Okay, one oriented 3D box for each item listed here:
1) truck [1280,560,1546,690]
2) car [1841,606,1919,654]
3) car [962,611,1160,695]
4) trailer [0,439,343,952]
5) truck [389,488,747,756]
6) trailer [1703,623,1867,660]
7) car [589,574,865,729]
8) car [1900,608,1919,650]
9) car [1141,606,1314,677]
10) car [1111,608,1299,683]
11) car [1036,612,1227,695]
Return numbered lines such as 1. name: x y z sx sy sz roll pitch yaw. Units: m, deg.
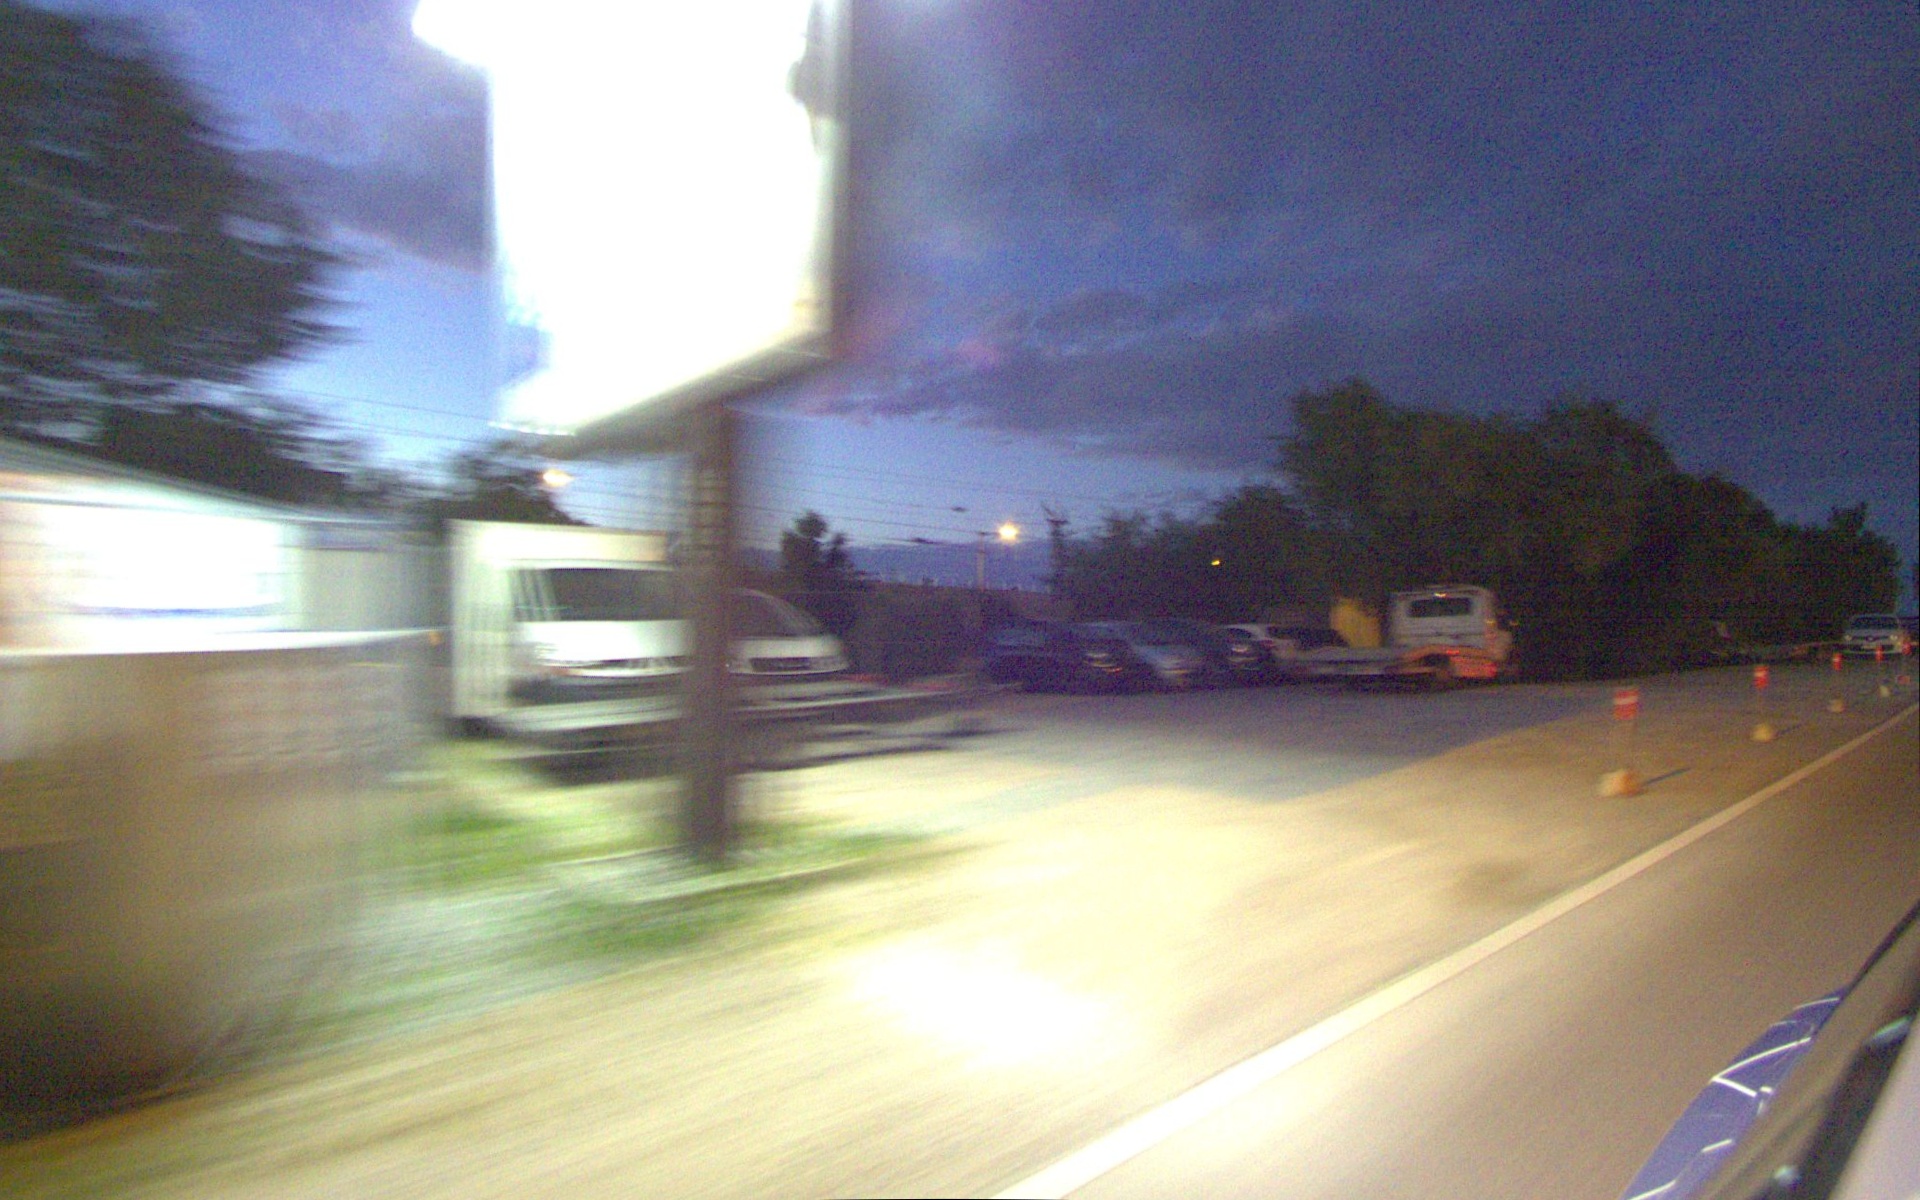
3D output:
1. truck: 9.834 0.483 21.478 7.613 2.313 2.379 1 -2 -43
2. car: 31.895 1.034 34.987 1.934 1.572 3.936 -2 -2 44
3. car: 1.977 1.010 20.581 1.680 1.535 3.858 1 -2 -43
4. trailer: -4.918 0.369 5.657 1.580 2.039 3.766 1 -1 -17
5. truck: -5.177 0.272 12.802 2.430 2.633 5.536 1 -2 -42
6. trailer: 25.232 1.232 30.731 9.445 0.979 2.176 1 -3 -41
7. car: -3.591 0.671 14.767 1.953 1.860 5.084 0 -1 -38
8. car: 37.625 1.131 39.006 1.993 1.572 4.257 -2 -3 43
9. car: 6.599 0.991 25.218 1.680 1.625 3.858 1 -2 -43
10. car: 5.553 0.996 23.289 1.868 1.581 3.862 0 -1 -40
11. car: 3.624 1.090 21.877 1.680 1.616 3.858 1 -2 -43
